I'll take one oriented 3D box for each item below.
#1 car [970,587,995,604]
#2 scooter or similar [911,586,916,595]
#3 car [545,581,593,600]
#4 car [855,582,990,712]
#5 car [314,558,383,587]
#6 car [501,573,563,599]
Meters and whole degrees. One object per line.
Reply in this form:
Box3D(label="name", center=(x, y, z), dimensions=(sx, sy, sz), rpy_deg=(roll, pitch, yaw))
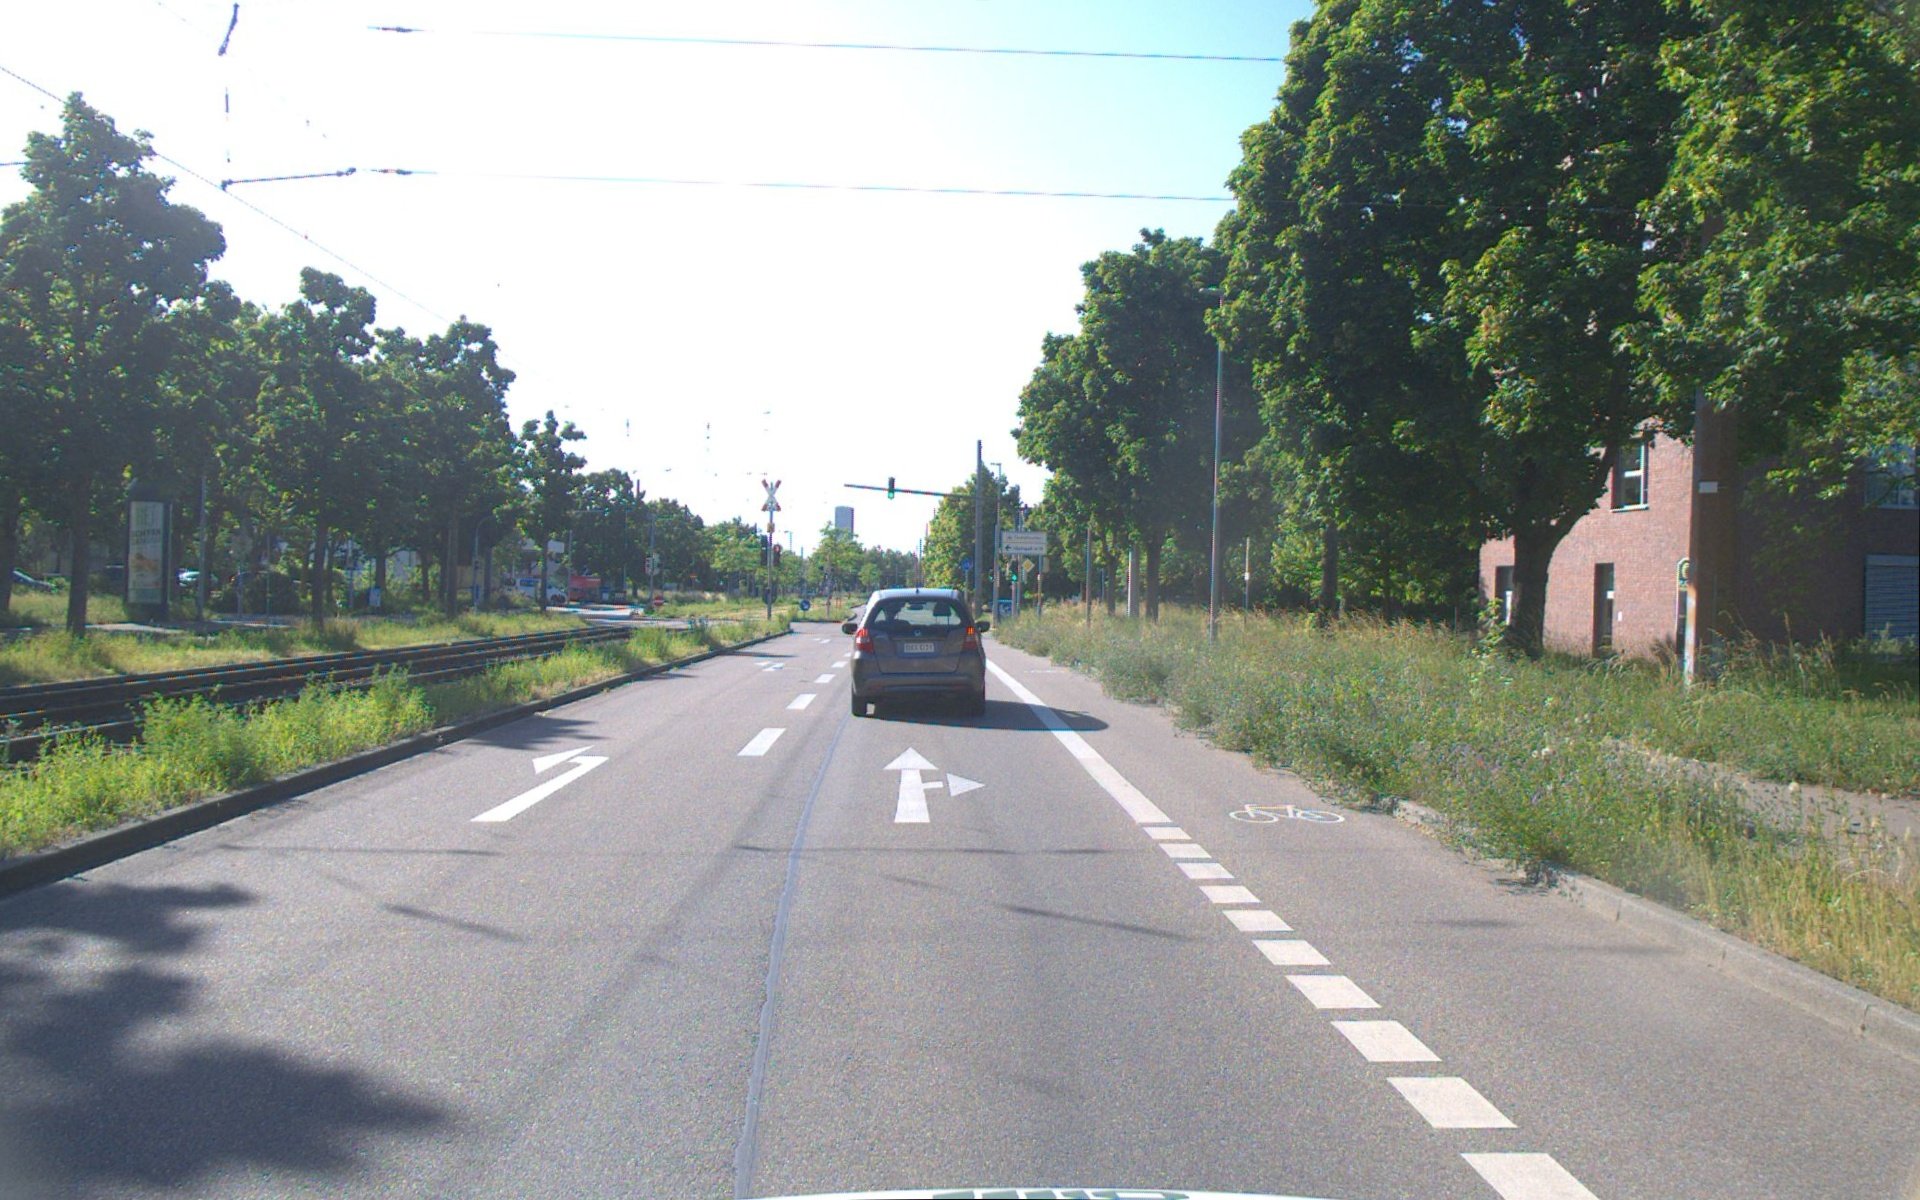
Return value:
Box3D(label="car", center=(1.937, -0.383, 145.664), dimensions=(1.740, 1.411, 3.865), rpy_deg=(0, 0, -6))
Box3D(label="scooter or similar", center=(-6.208, -1.262, 220.233), dimensions=(0.529, 1.138, 1.416), rpy_deg=(1, 0, -5))
Box3D(label="car", center=(-35.732, -0.883, 151.254), dimensions=(3.991, 1.596, 1.790), rpy_deg=(1, 0, -5))
Box3D(label="car", center=(-0.462, 0.555, 21.216), dimensions=(1.591, 1.526, 3.456), rpy_deg=(0, 0, -1))
Box3D(label="car", center=(-47.685, -2.114, 128.995), dimensions=(4.628, 2.128, 2.019), rpy_deg=(1, 0, -4))
Box3D(label="car", center=(-34.785, -1.118, 134.539), dimensions=(1.825, 2.008, 4.765), rpy_deg=(1, 0, 37))
